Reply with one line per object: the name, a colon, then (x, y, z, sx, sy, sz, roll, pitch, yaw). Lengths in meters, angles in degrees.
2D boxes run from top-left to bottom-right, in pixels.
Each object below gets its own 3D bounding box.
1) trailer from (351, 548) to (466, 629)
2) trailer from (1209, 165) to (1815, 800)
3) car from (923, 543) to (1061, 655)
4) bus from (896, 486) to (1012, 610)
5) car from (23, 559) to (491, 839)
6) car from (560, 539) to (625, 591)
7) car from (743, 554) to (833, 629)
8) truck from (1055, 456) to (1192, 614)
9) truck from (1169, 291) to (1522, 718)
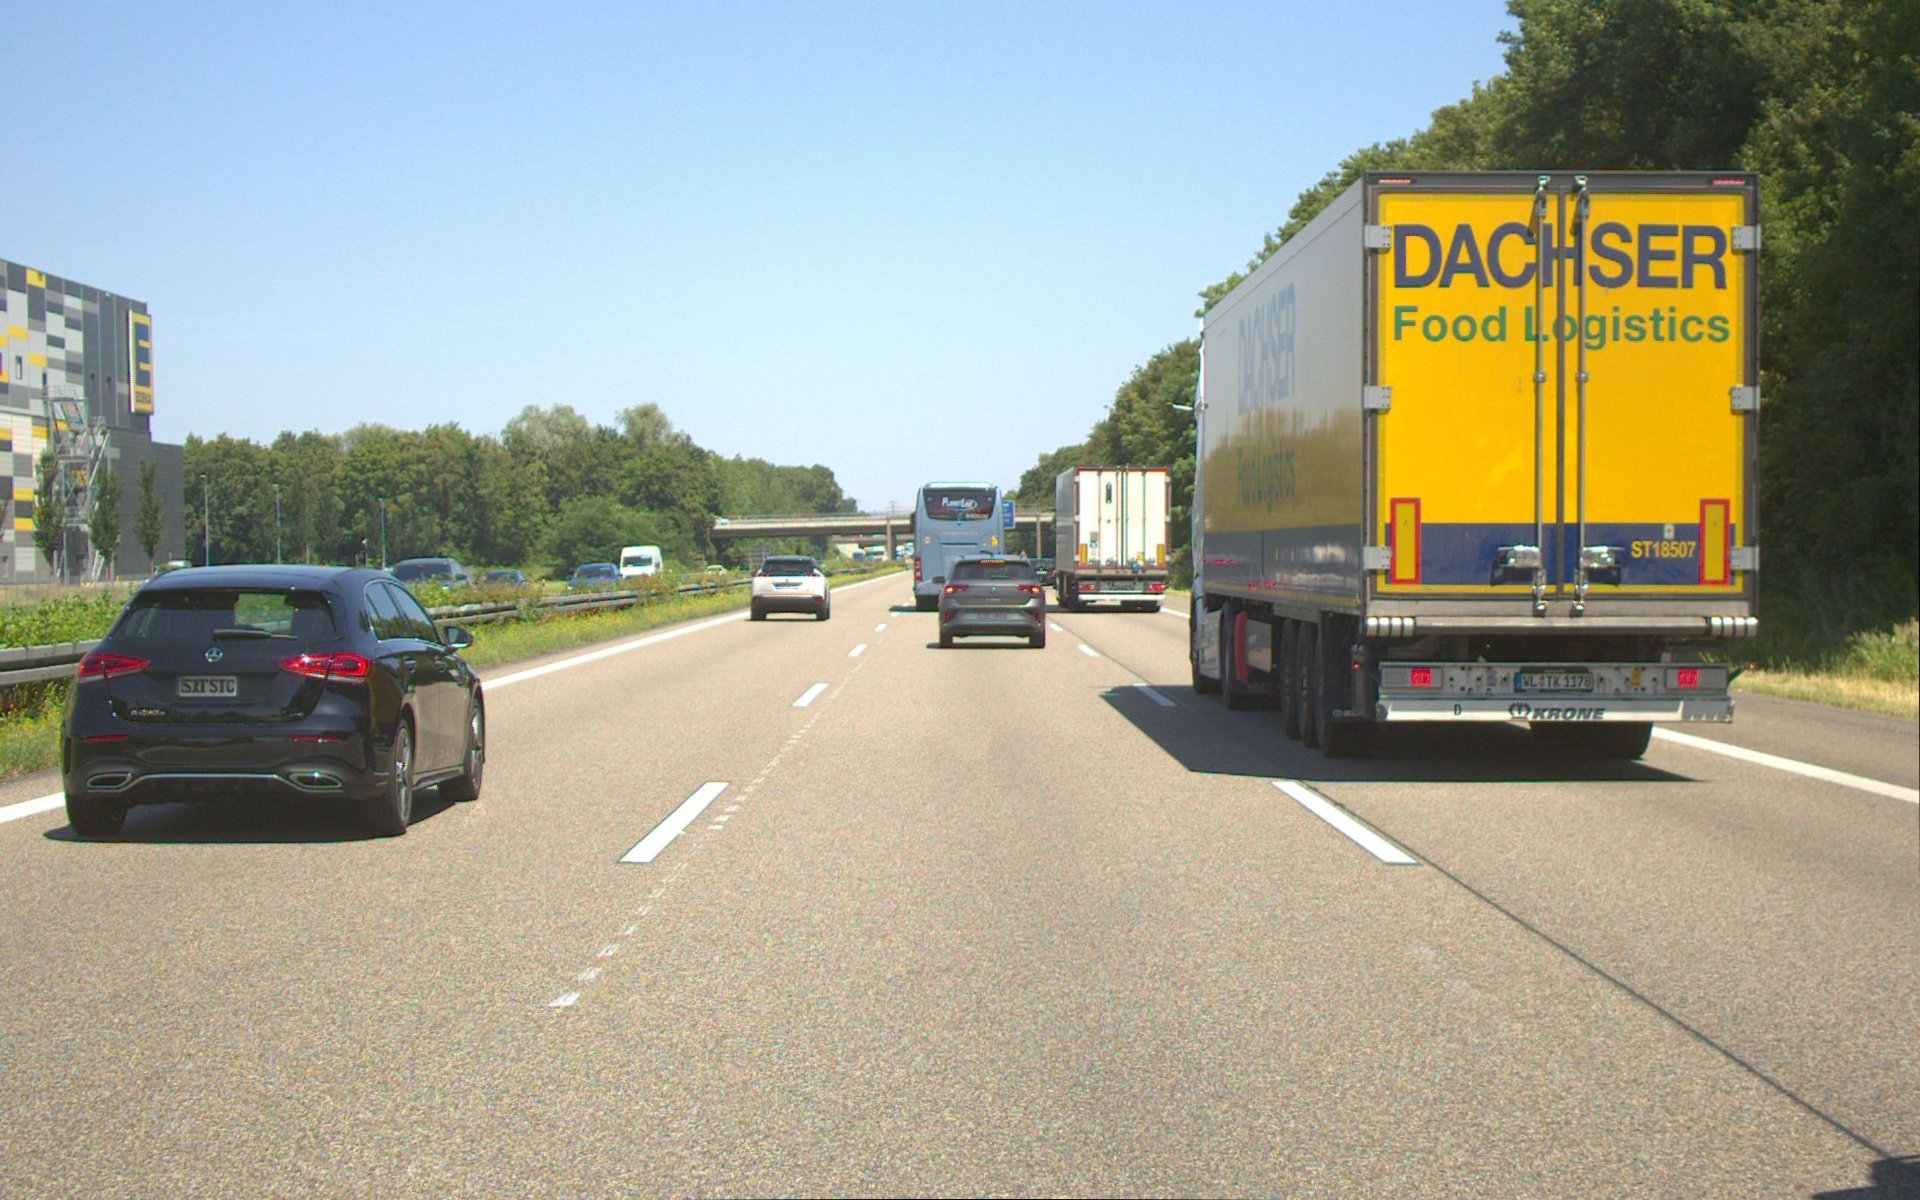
trailer: (-12.864, -0.289, 80.463, 1.944, 1.783, 5.238, -1, 1, -1)
trailer: (3.862, -0.833, 27.237, 2.834, 3.940, 11.684, 0, 1, 0)
car: (0.507, -0.051, 58.434, 2.216, 1.784, 5.393, -1, 1, 0)
bus: (-0.243, -1.494, 98.763, 3.062, 3.315, 8.275, -1, 1, -1)
car: (-3.844, 0.479, 19.467, 1.792, 1.407, 4.053, 0, 1, 0)
car: (-13.154, -1.277, 123.391, 1.911, 1.782, 4.482, -1, 1, -1)
car: (-4.058, -0.234, 81.630, 1.993, 1.722, 4.131, 0, 1, -1)
truck: (4.473, -1.791, 96.218, 3.423, 4.112, 9.564, -1, 1, 1)
truck: (3.832, -0.946, 35.667, 2.813, 3.993, 6.645, -1, 1, -1)
